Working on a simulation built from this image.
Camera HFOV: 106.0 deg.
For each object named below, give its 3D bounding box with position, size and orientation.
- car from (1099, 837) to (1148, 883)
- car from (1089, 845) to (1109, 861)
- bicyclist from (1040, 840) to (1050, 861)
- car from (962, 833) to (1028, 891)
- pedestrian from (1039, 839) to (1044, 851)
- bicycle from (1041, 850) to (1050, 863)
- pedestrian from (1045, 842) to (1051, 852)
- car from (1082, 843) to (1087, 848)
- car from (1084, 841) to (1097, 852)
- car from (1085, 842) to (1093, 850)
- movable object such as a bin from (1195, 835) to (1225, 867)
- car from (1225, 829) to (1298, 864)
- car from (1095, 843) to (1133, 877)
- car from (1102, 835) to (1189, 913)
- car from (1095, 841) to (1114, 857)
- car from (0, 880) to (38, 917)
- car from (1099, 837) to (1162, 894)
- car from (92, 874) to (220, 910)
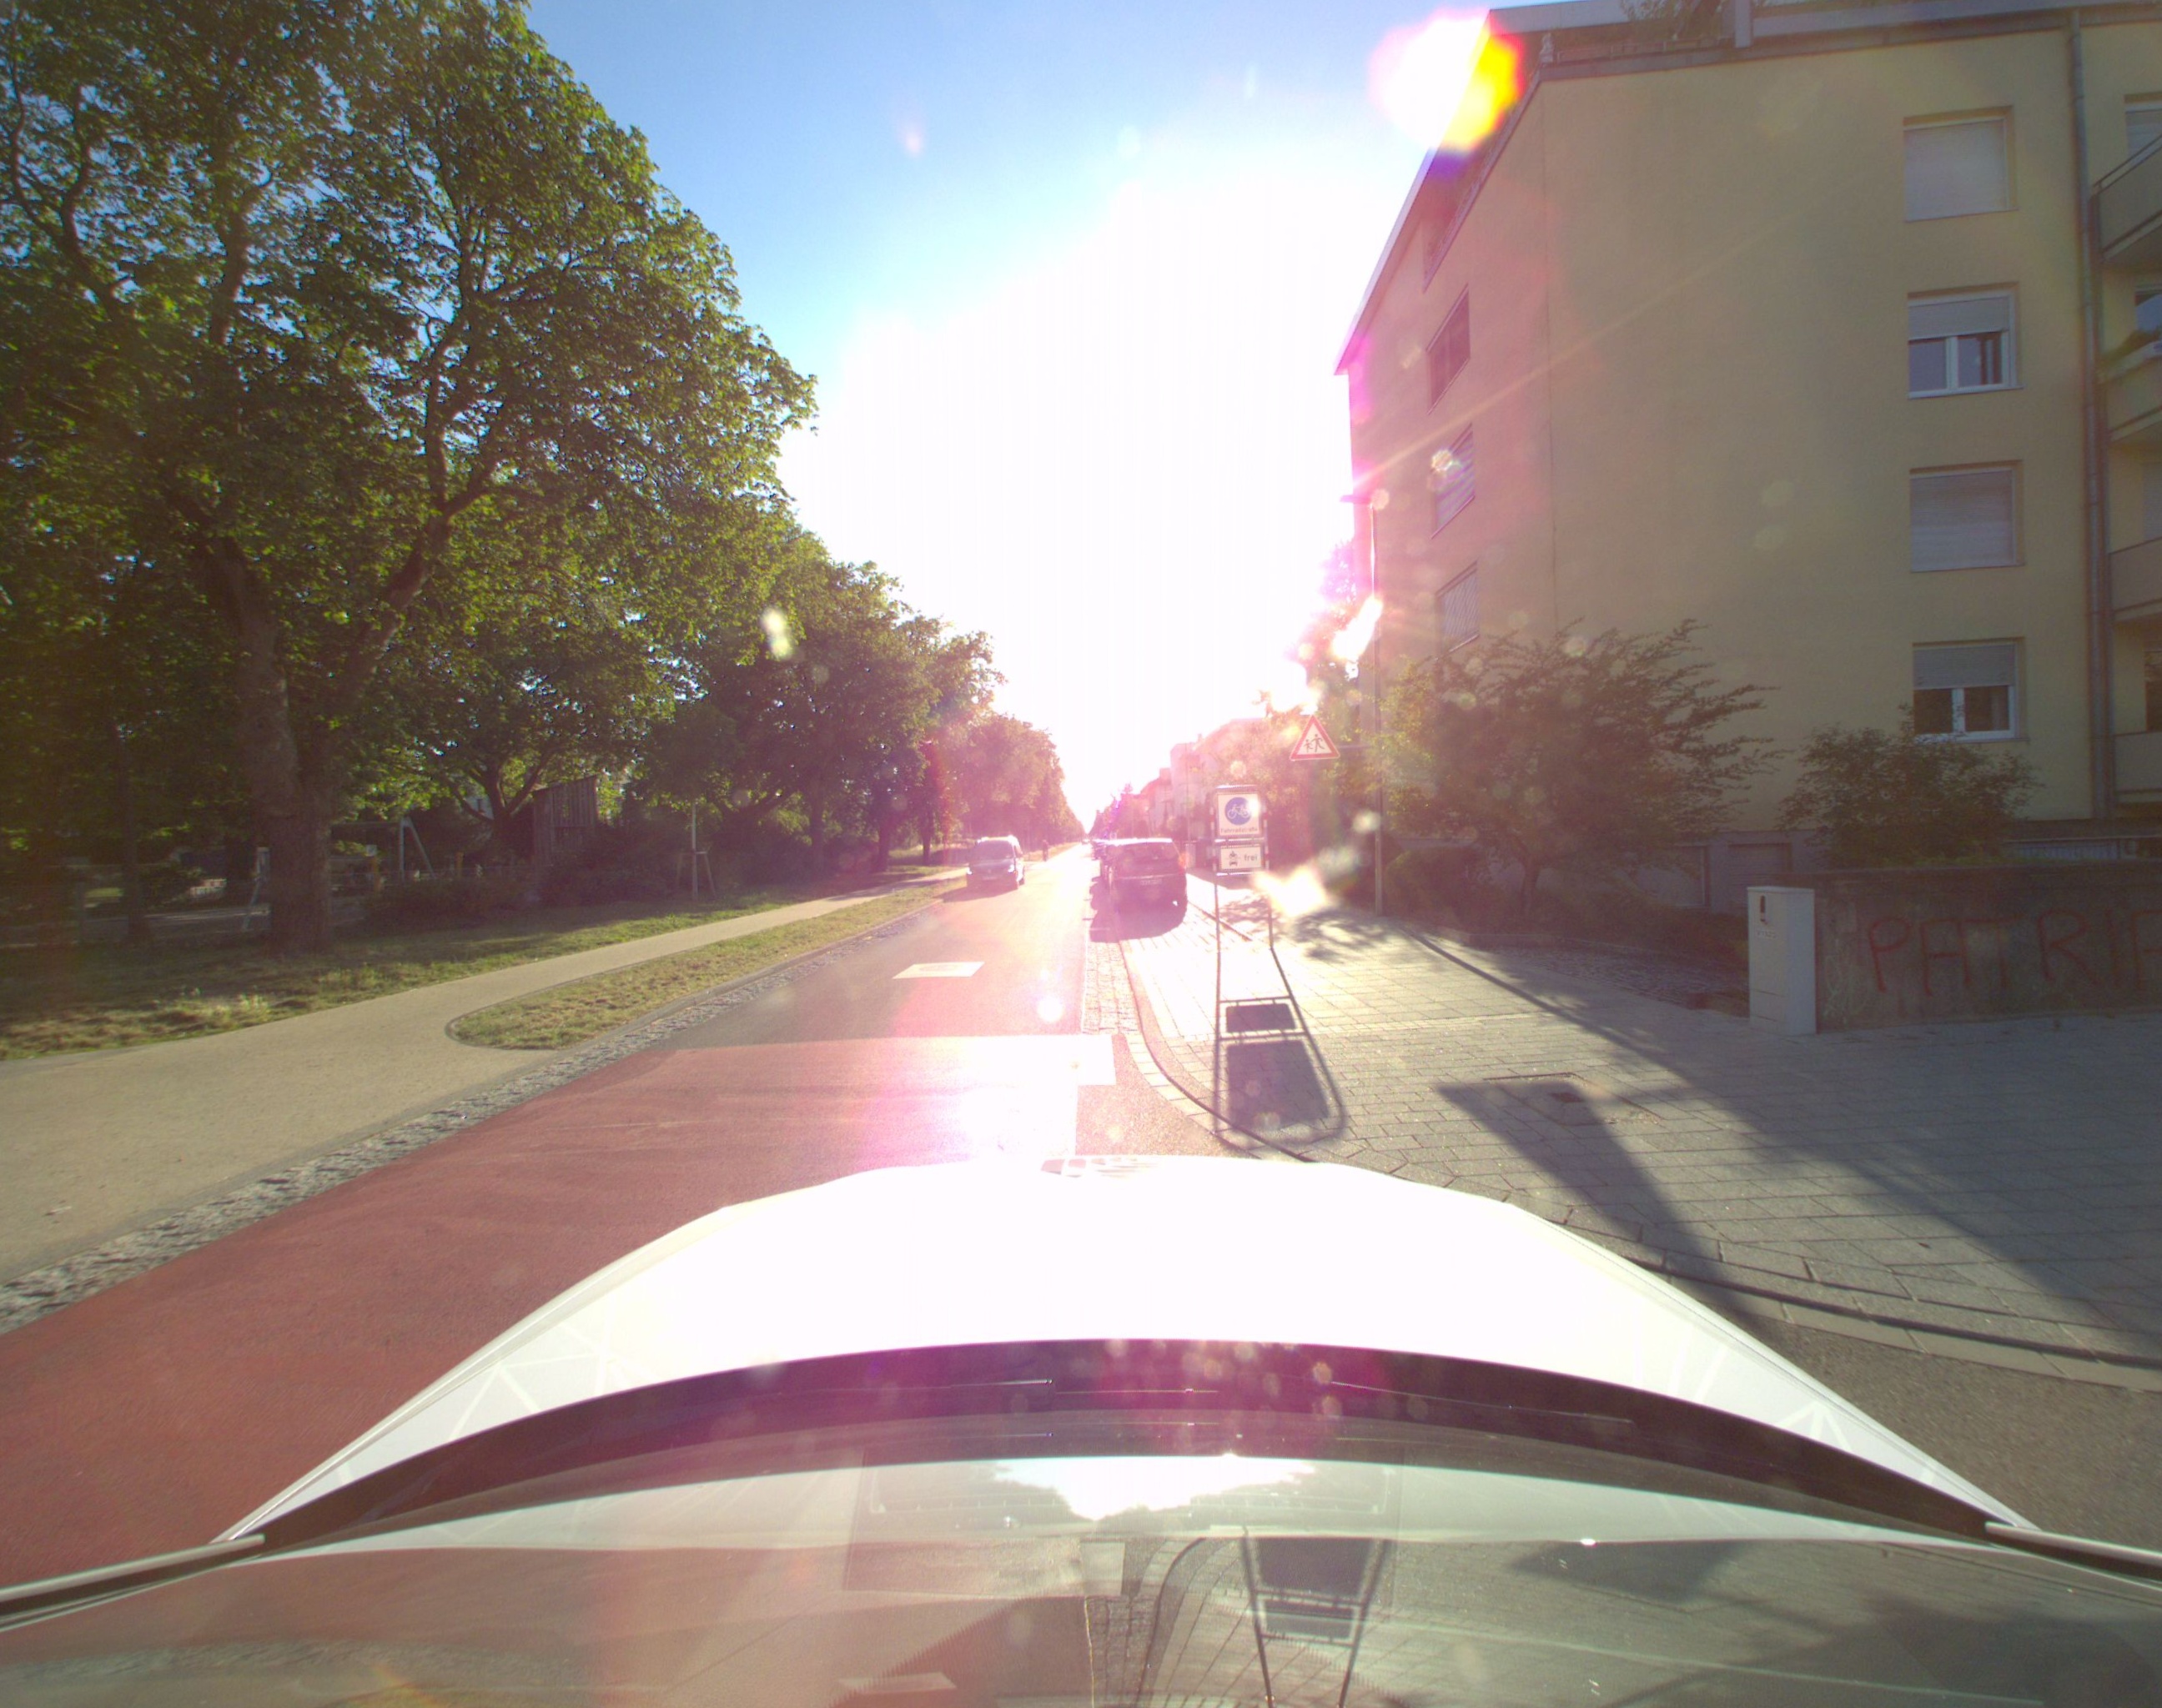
[{"bbox_3d":[1.591,0.181,31.369,1.672,1.555,4.132,-3,1,2],"label":"car"},{"bbox_3d":[1.623,-0.130,73.615,1.768,1.288,4.273,-1,1,1],"label":"car"},{"bbox_3d":[-2.904,-0.273,65.419,0.679,1.672,1.172,-3,0,0],"label":"bicyclist"},{"bbox_3d":[-3.035,0.260,29.728,1.838,1.847,4.572,-3,0,0],"label":"car"},{"bbox_3d":[-6.099,-1.429,124.638,0.621,1.831,0.887,-2,1,4],"label":"pedestrian"},{"bbox_3d":[-2.856,0.189,65.477,0.554,1.031,1.915,-3,0,0],"label":"bicycle"},{"bbox_3d":[-5.077,-1.081,124.566,0.779,1.614,0.953,-2,1,4],"label":"pedestrian"},{"bbox_3d":[1.025,-2.557,237.670,1.646,1.541,3.267,-1,1,1],"label":"car"},{"bbox_3d":[1.375,-1.079,120.955,1.731,1.448,4.196,-3,0,-1],"label":"car"},{"bbox_3d":[1.747,-1.623,171.736,1.492,1.567,3.268,-2,1,2],"label":"car"},{"bbox_3d":[6.014,-0.160,37.903,1.232,1.432,1.124,-1,1,2],"label":"movable object such as a bin"},{"bbox_3d":[9.034,-0.364,40.986,3.473,1.641,1.647,-2,1,8],"label":"car"},{"bbox_3d":[1.487,0.221,37.406,1.558,1.390,4.375,-3,1,1],"label":"car"},{"bbox_3d":[1.478,0.408,20.120,1.705,1.610,4.168,-4,1,0],"label":"car"},{"bbox_3d":[2.405,-0.559,84.784,1.739,1.474,3.921,-5,1,0],"label":"car"},{"bbox_3d":[-43.193,1.815,31.186,1.516,1.367,3.754,-1,1,2],"label":"car"},{"bbox_3d":[1.489,0.299,25.777,1.673,1.555,4.144,-3,1,0],"label":"car"},{"bbox_3d":[-42.744,1.713,37.750,1.516,1.367,3.754,-1,1,2],"label":"car"}]
